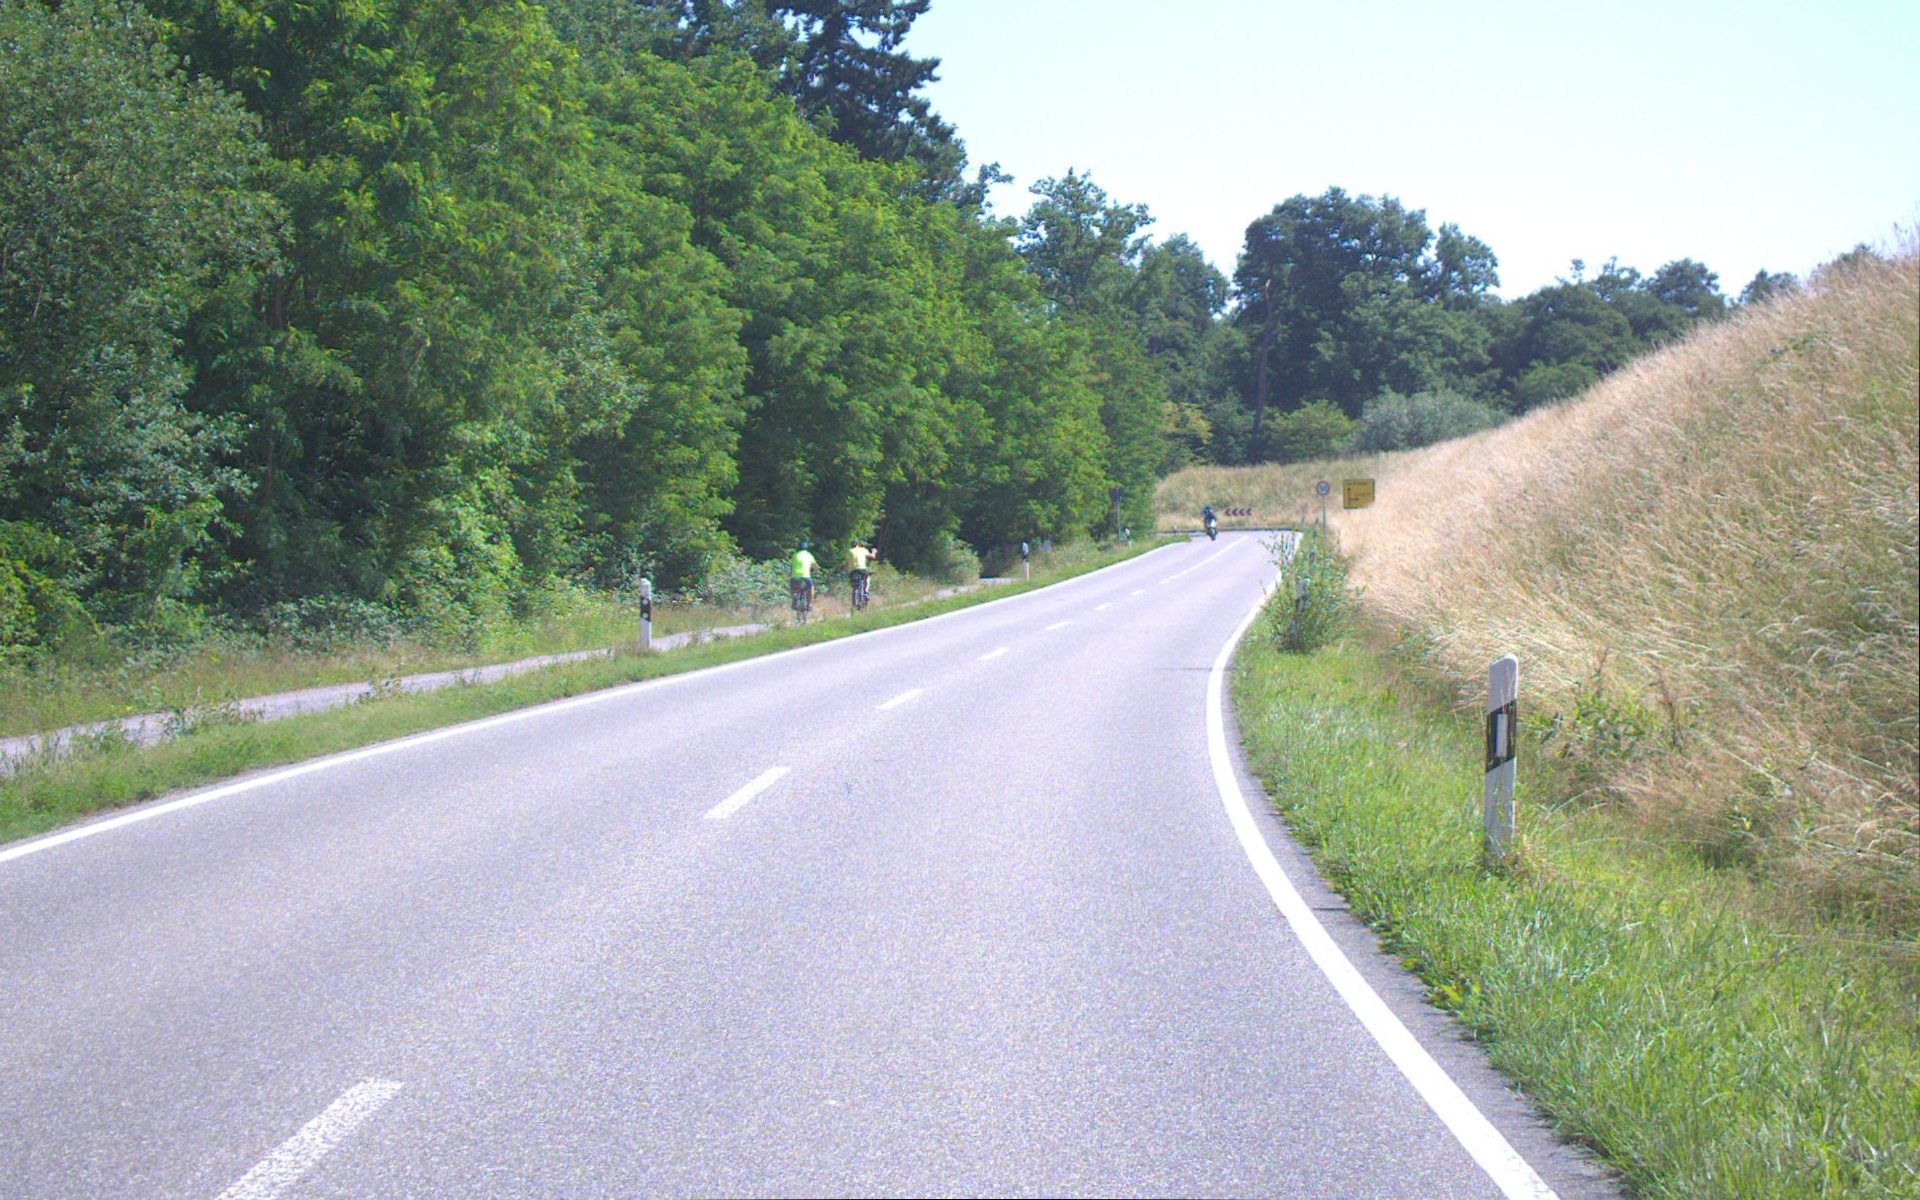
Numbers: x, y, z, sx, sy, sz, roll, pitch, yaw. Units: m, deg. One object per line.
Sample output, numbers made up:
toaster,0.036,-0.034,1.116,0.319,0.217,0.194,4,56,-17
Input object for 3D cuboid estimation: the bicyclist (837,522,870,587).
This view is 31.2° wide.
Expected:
bicyclist,-2.350,-1.017,75.935,0.605,1.410,0.702,-2,1,6

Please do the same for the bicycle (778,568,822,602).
bicycle,-3.540,-0.337,76.172,0.619,0.679,2.136,-2,1,6

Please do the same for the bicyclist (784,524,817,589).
bicyclist,-3.529,-0.966,76.235,0.605,1.411,0.702,1,-1,6

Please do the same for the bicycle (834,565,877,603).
bicycle,-2.299,-0.365,75.924,0.640,0.785,2.136,-2,1,6
